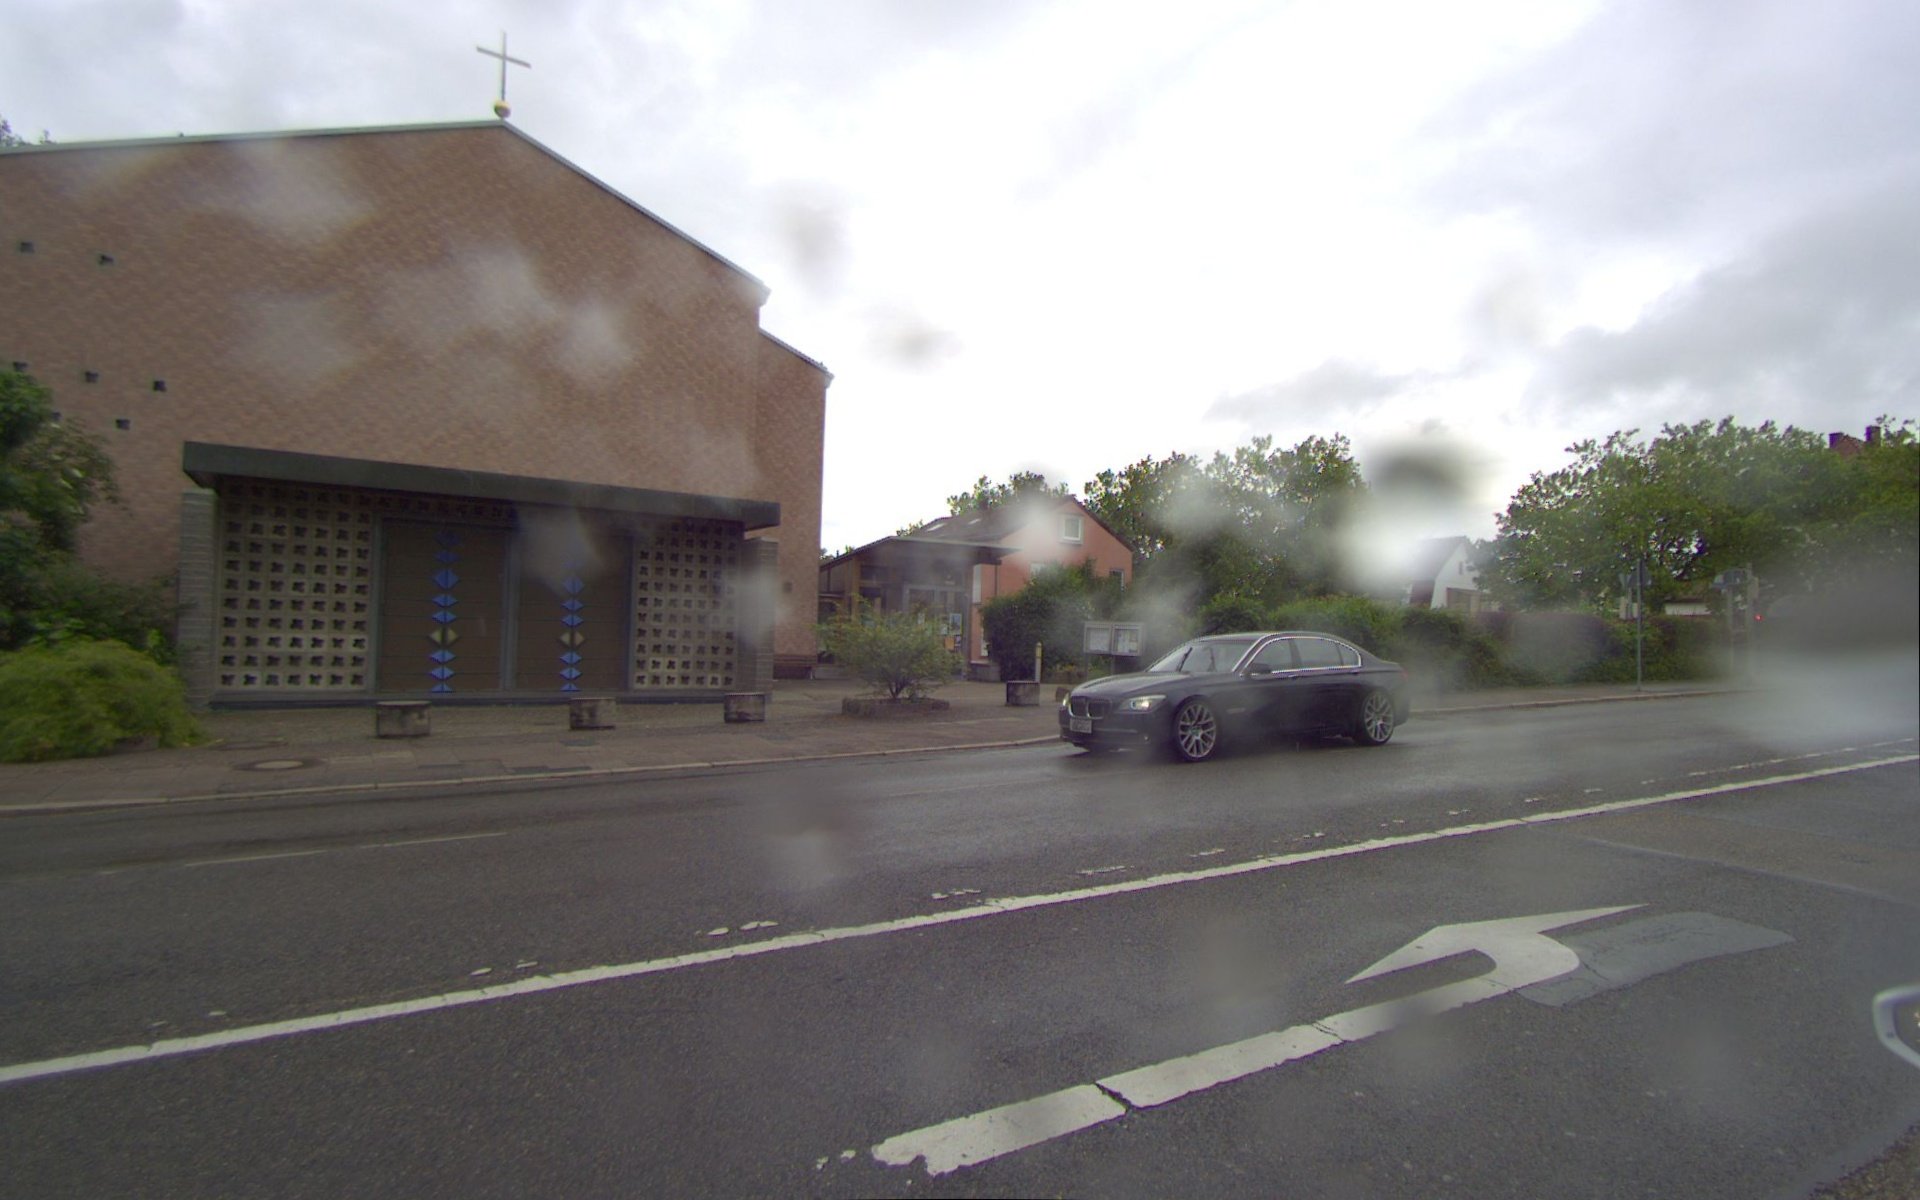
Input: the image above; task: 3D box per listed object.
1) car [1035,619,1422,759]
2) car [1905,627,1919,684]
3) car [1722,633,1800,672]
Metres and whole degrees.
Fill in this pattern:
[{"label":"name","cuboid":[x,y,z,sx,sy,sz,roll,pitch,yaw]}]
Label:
[{"label":"car","cuboid":[3.487,1.081,12.738,4.894,1.472,1.901,2,-5,-32]},{"label":"car","cuboid":[29.351,1.571,28.694,4.256,1.611,1.904,1,-2,-23]},{"label":"car","cuboid":[39.111,2.527,49.020,3.955,1.573,1.798,-3,2,-32]}]
